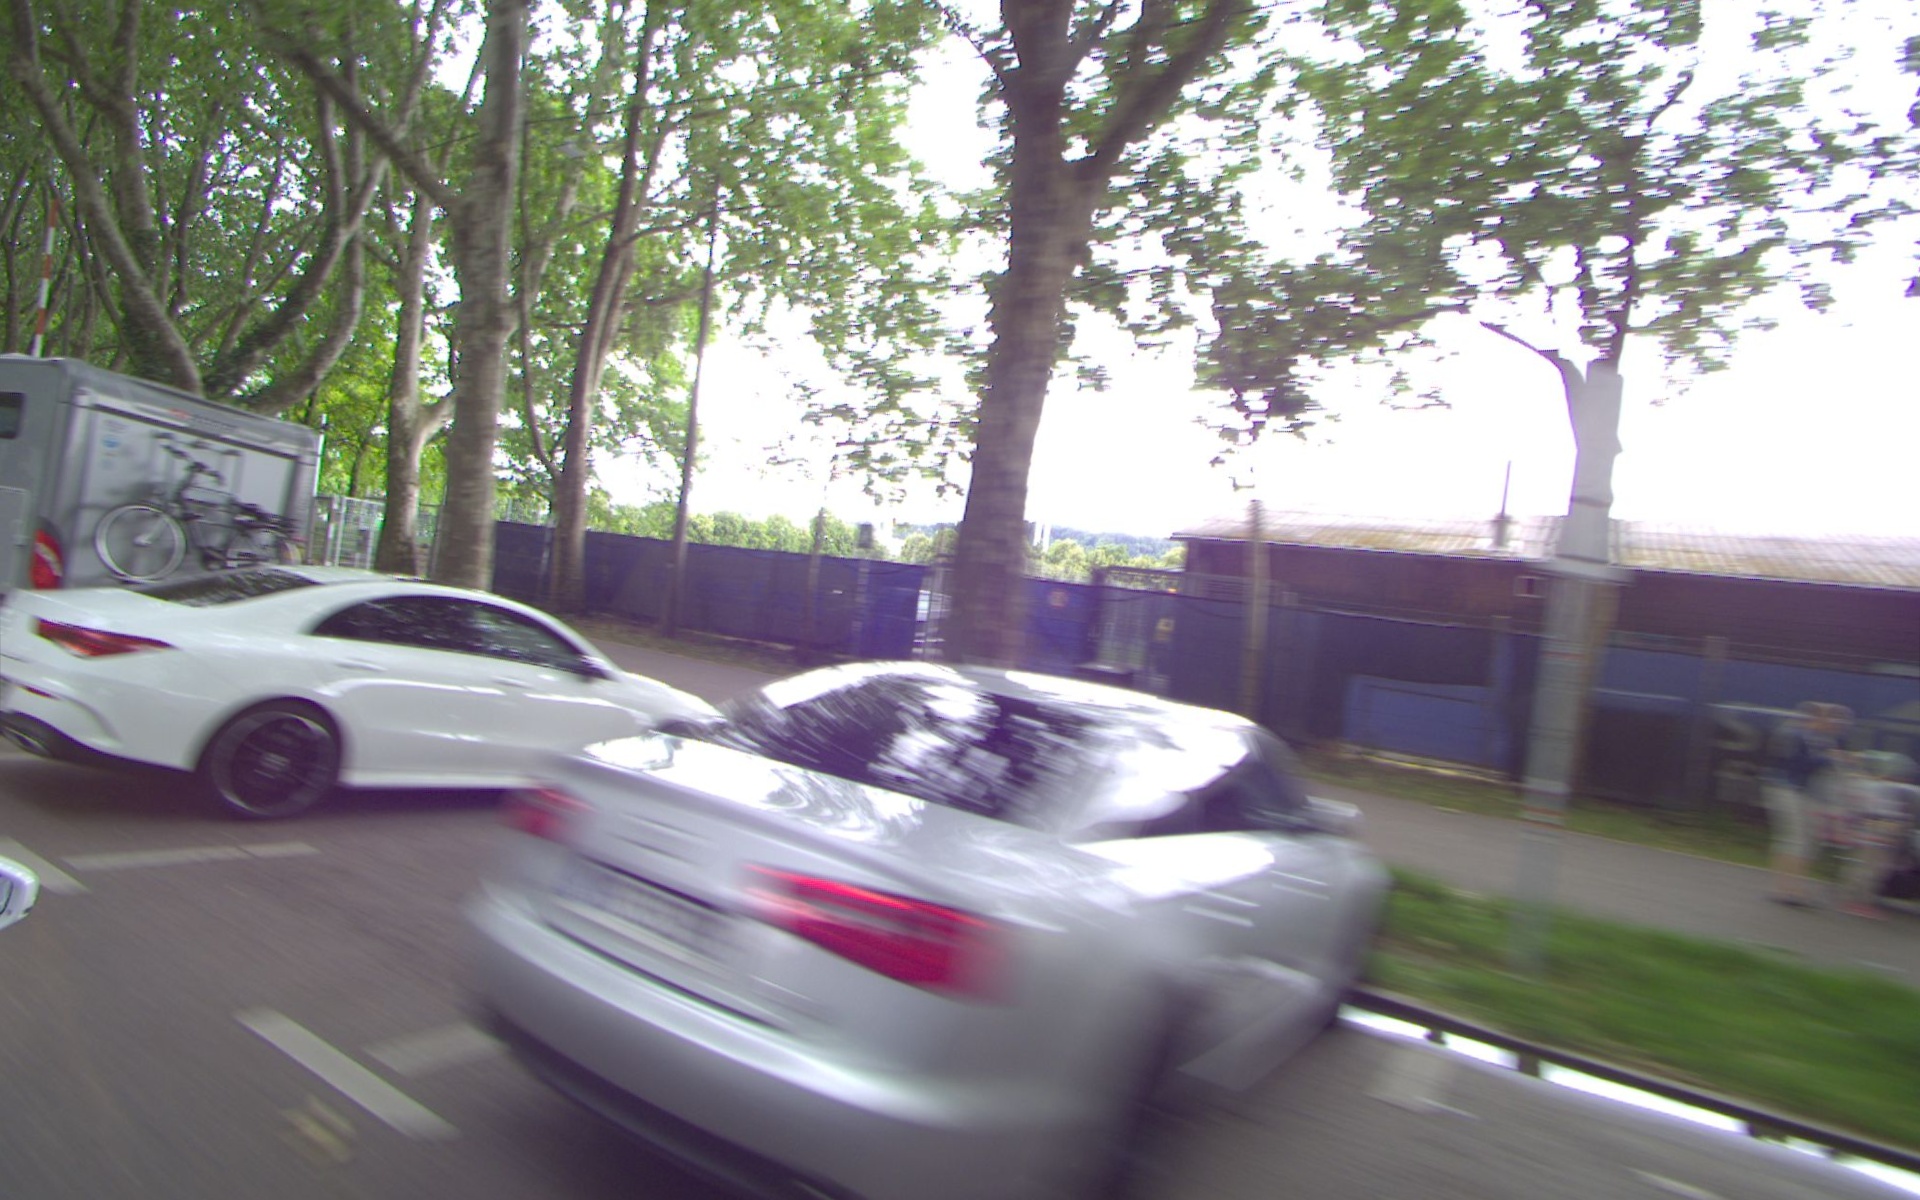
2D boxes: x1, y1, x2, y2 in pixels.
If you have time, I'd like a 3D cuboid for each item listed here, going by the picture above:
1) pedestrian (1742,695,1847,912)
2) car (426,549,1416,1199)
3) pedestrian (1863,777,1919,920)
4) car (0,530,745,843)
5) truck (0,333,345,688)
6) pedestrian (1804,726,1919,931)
[{"bbox_3d":[6.904,1.654,8.345,0.423,1.666,0.518,8,3,33],"label":"pedestrian"},{"bbox_3d":[0.509,0.991,4.098,1.587,1.460,4.370,7,-5,35],"label":"car"},{"bbox_3d":[8.024,2.084,8.336,0.584,1.062,0.587,8,3,31],"label":"pedestrian"},{"bbox_3d":[-3.644,0.556,6.754,1.672,1.317,4.328,7,-2,32],"label":"car"},{"bbox_3d":[-10.568,-1.082,10.994,7.401,2.972,2.467,7,-1,23],"label":"truck"},{"bbox_3d":[7.295,1.802,8.082,0.558,1.460,0.518,8,3,33],"label":"pedestrian"}]
